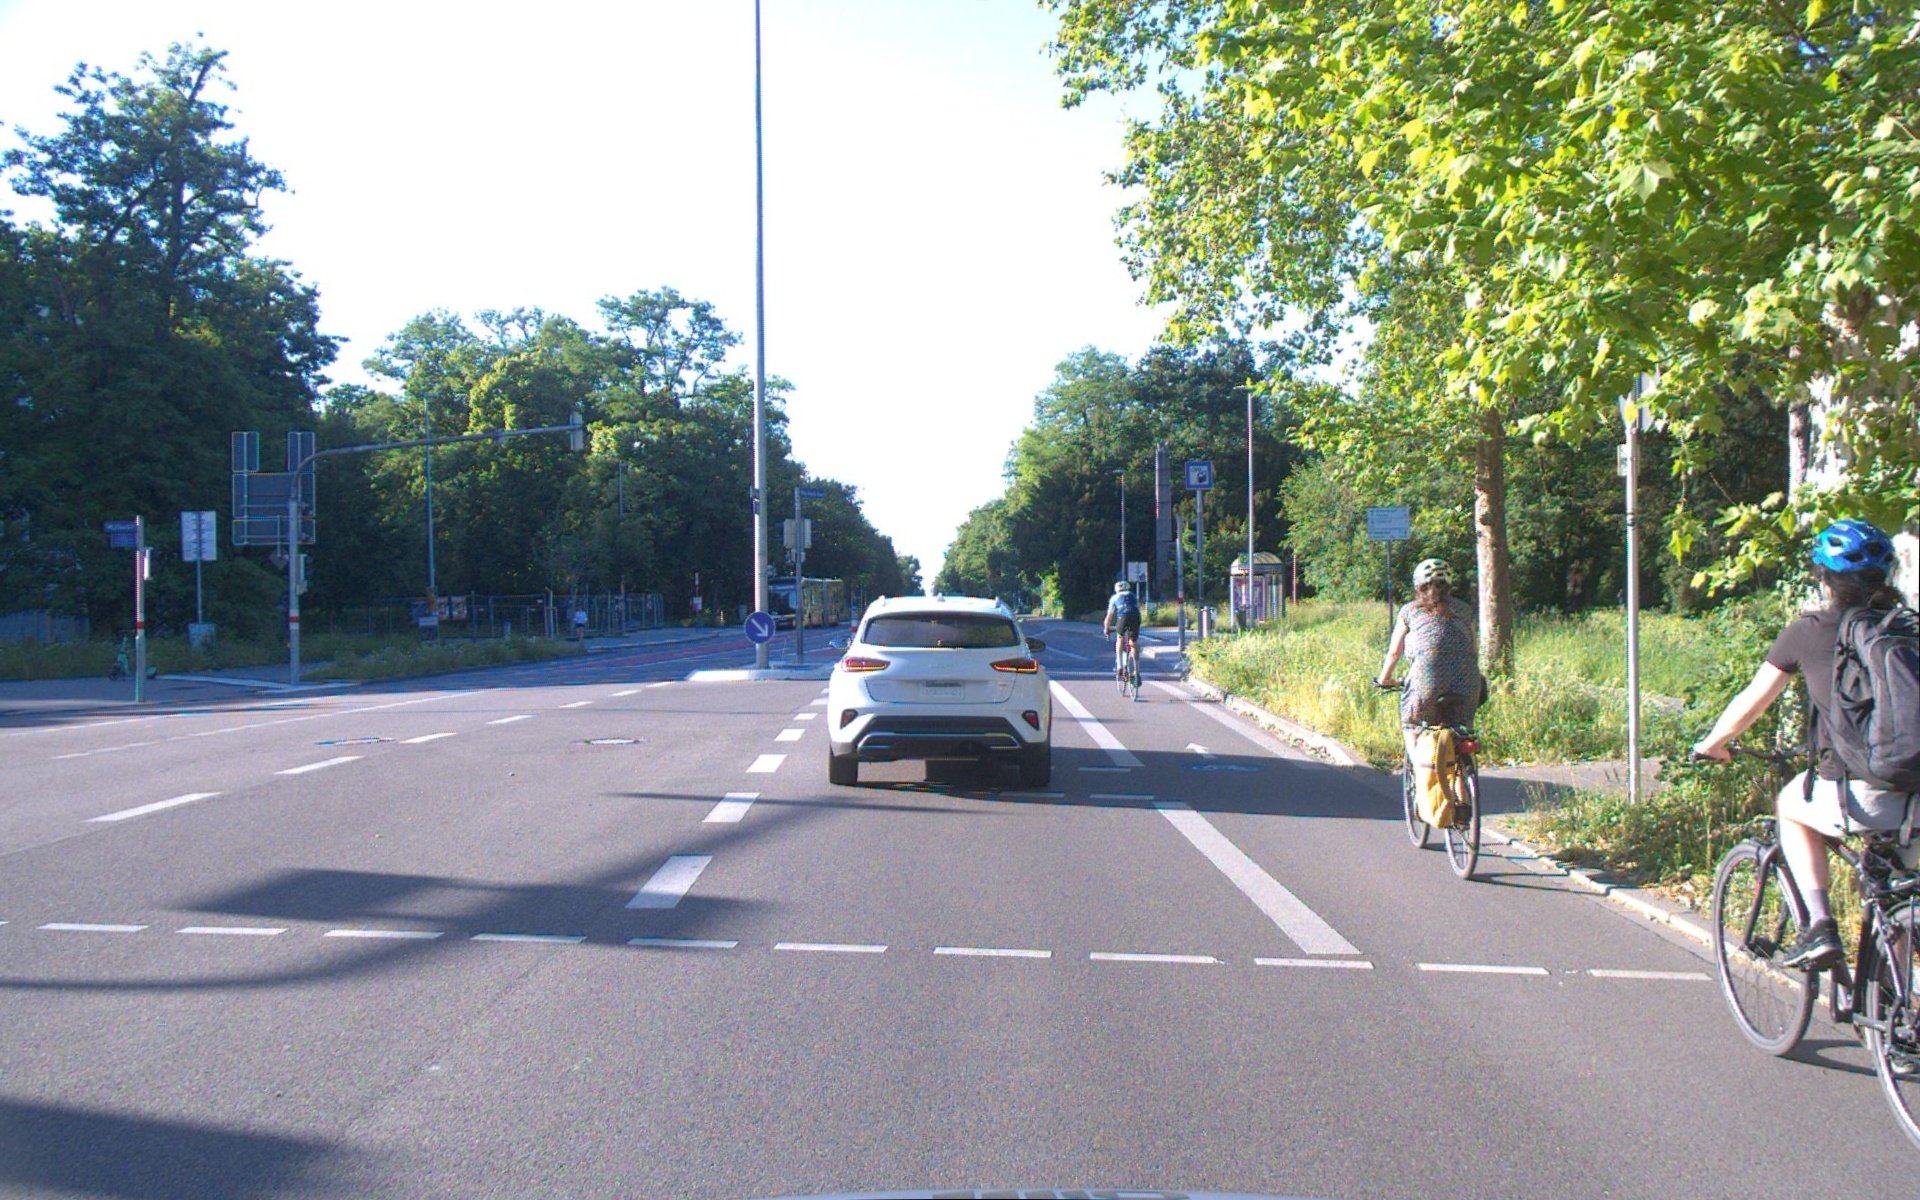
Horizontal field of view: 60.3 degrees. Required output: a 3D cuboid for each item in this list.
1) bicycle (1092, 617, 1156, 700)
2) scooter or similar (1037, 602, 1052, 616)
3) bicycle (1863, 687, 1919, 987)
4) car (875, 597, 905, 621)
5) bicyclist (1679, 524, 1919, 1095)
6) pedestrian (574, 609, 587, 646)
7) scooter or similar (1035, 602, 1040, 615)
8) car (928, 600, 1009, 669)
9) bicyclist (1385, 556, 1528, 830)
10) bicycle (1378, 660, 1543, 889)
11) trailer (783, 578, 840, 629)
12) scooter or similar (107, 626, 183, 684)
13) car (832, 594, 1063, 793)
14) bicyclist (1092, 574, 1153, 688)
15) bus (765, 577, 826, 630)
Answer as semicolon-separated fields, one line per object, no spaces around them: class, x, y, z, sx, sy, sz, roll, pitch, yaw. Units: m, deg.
bicycle;2.343;0.814;23.787;0.872;1.114;2.137;0;0;5
scooter or similar;7.993;0.858;156.749;1.529;1.272;0.526;-1;0;-44
bicycle;4.610;0.889;6.268;1.942;1.114;0.696;-1;0;6
car;-4.633;0.584;110.616;1.675;1.446;4.555;-1;1;1
bicyclist;2.703;0.558;4.915;0.679;1.527;0.892;-1;0;-3
pedestrian;-16.460;1.183;71.791;0.442;1.560;0.571;-1;0;-4
scooter or similar;8.180;0.890;174.603;0.522;1.272;1.541;-1;0;-1
car;0.240;0.743;37.458;1.641;1.442;3.575;-1;0;3
bicyclist;2.868;0.523;9.627;0.678;1.516;0.801;-1;0;11
bicycle;2.903;0.962;9.774;0.678;1.114;2.138;-1;0;11
trailer;-10.329;0.252;116.009;2.795;3.414;9.364;1;0;2
scooter or similar;-19.381;1.305;39.364;0.680;1.316;1.493;-2;0;29
car;-0.221;0.713;14.370;1.726;1.485;3.814;1;0;-4
bicyclist;2.316;0.437;23.627;0.841;1.594;0.881;0;0;5
bus;-10.573;0.243;107.055;2.781;3.252;8.601;-1;0;1
